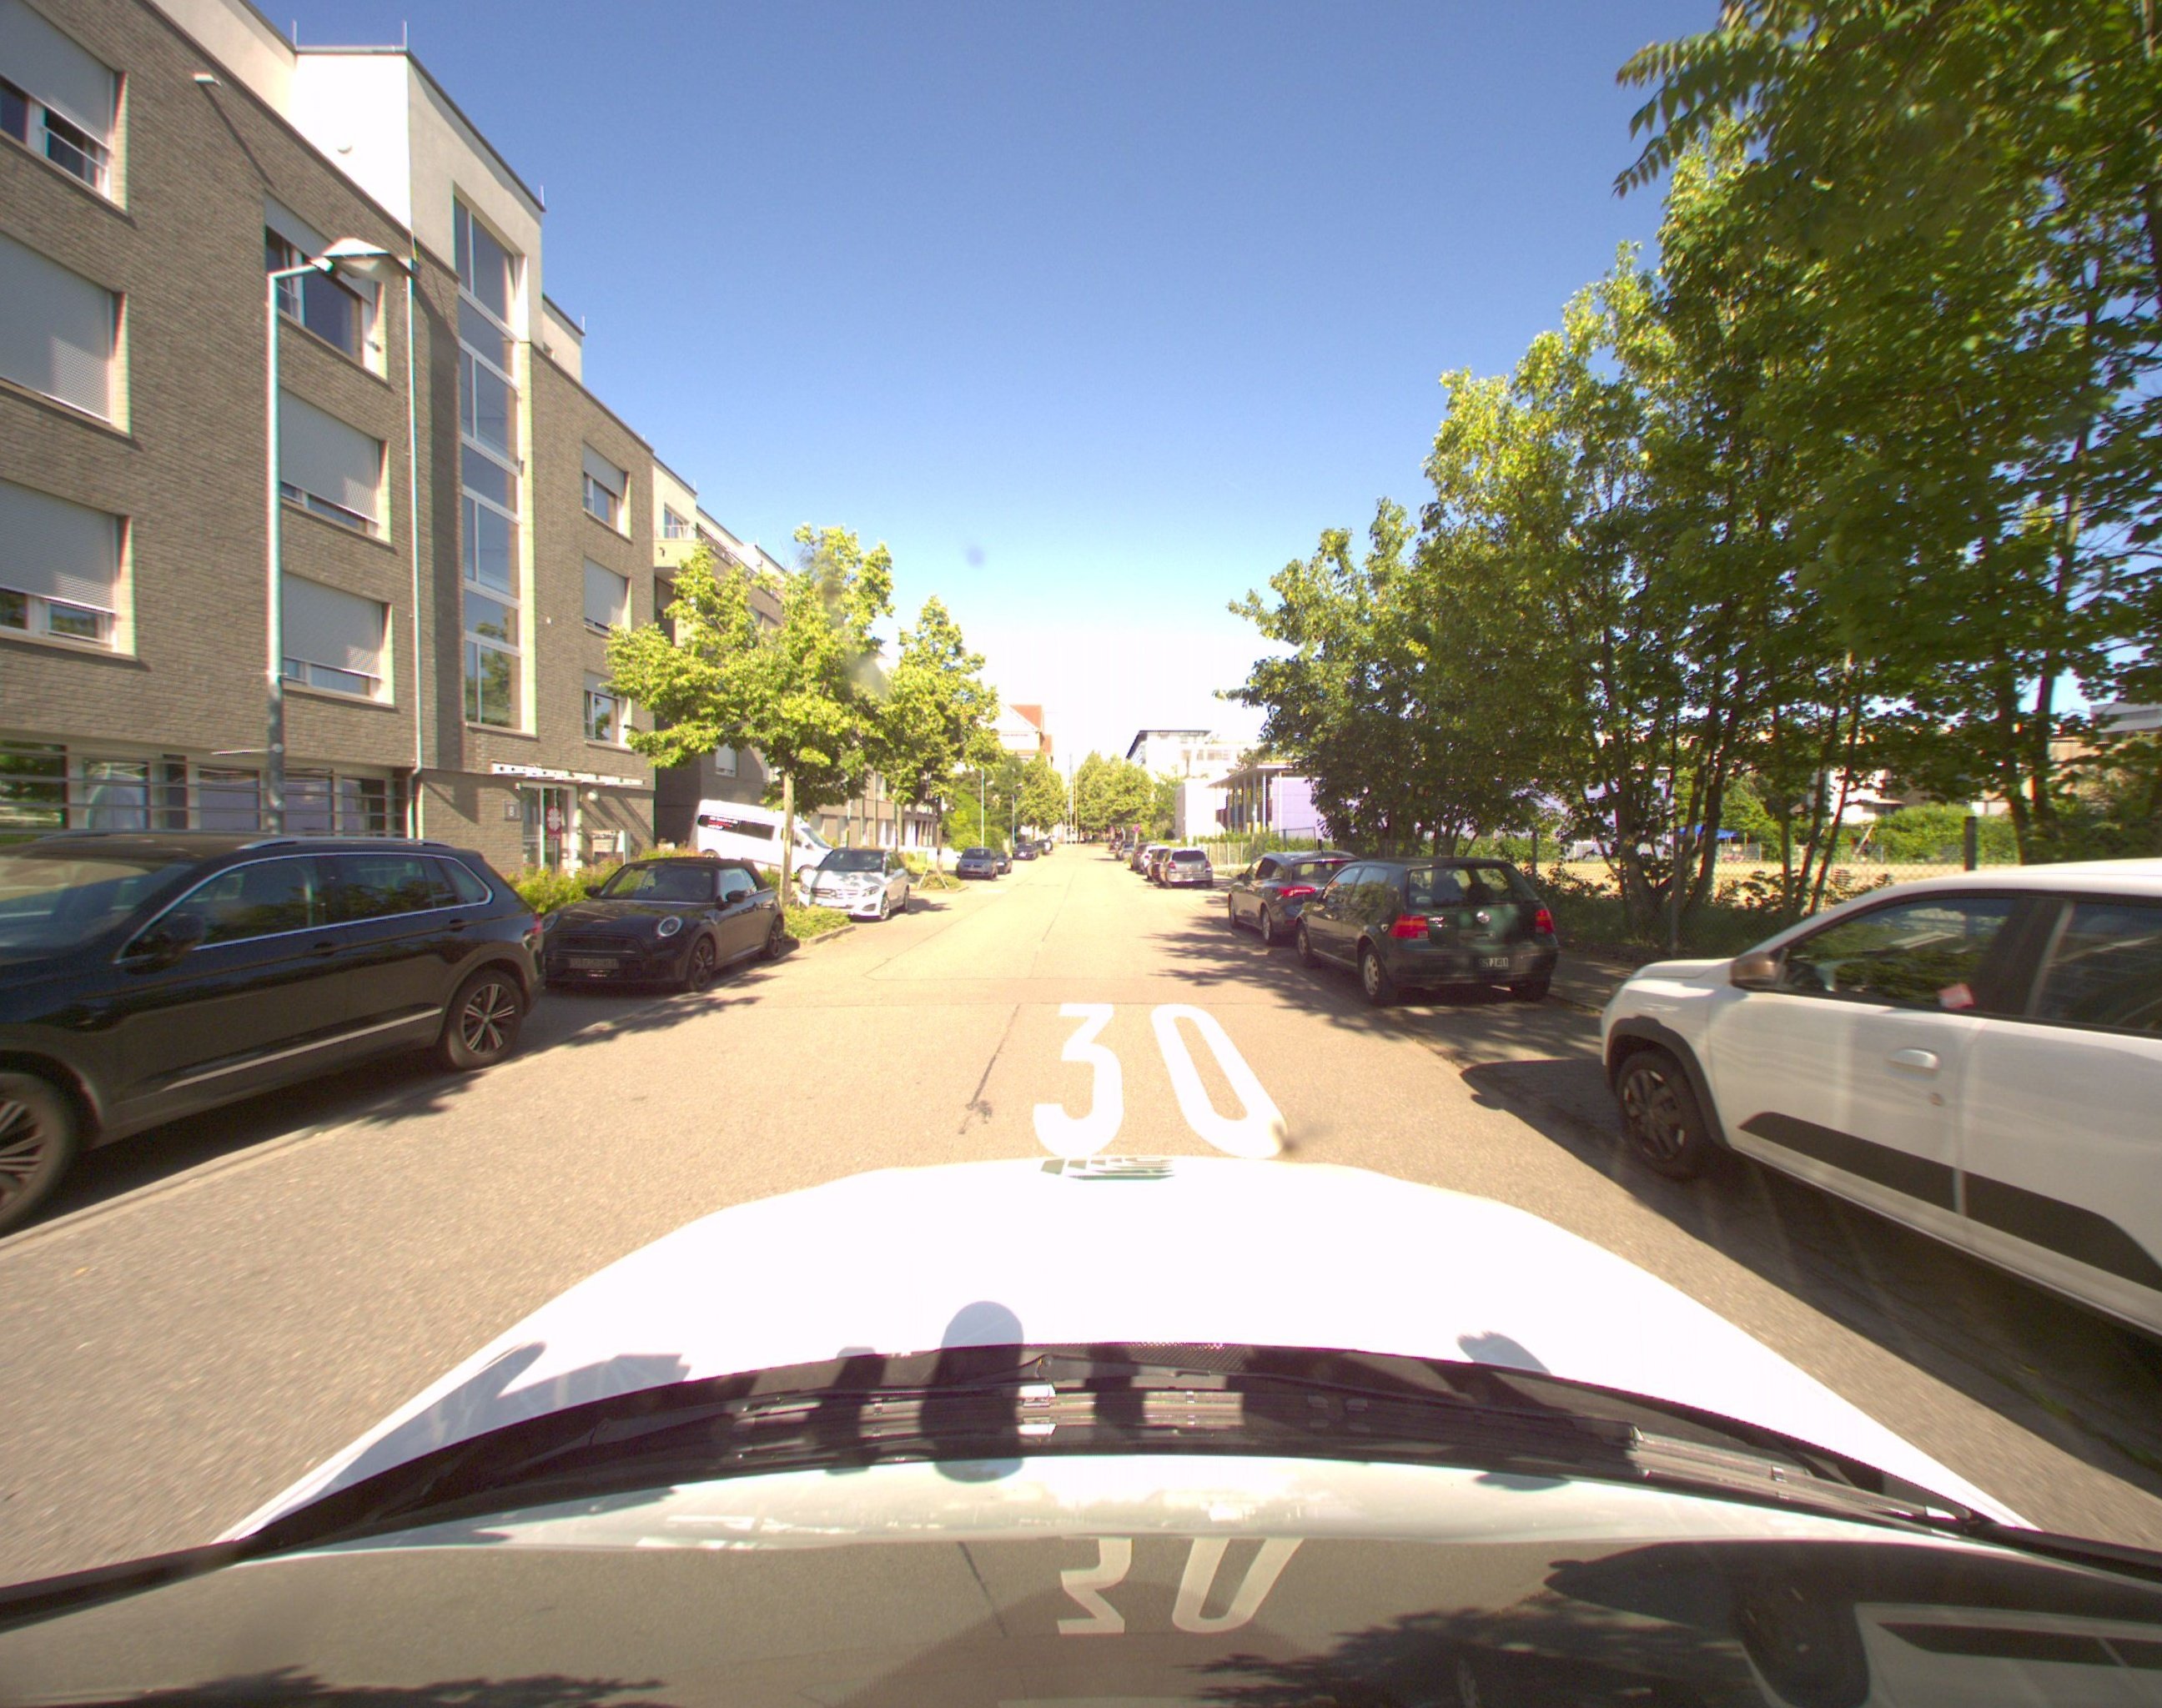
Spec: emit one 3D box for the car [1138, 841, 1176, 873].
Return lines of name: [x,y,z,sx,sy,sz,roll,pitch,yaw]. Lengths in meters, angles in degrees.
car: [3.976,0.137,43.145,1.674,1.541,3.849,0,2,0]

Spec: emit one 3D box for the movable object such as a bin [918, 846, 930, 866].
movable object such as a bin: [-8.926,0.128,46.330,0.605,1.090,0.636,0,2,-1]

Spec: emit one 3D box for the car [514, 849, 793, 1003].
car: [-4.975,0.715,10.107,1.574,1.504,3.787,0,1,-3]

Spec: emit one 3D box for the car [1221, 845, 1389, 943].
car: [3.678,0.559,14.184,1.671,1.437,4.438,0,1,-1]

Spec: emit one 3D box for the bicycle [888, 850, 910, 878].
bicycle: [-7.762,0.427,34.755,0.282,1.124,1.988,0,1,7]

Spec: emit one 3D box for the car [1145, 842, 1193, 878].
car: [3.786,0.231,35.529,1.682,1.494,4.078,0,0,0]

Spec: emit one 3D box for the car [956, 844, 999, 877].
car: [-4.903,0.280,38.883,1.606,1.465,3.873,0,1,-1]

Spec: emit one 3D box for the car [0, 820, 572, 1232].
car: [-5.176,0.656,4.441,1.880,1.619,4.341,2,0,2]

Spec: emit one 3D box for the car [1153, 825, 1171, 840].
car: [10.902,-2.931,109.884,1.987,2.013,4.001,0,1,1]

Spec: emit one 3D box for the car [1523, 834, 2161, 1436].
car: [3.445,0.681,2.933,1.613,1.451,4.092,0,0,2]

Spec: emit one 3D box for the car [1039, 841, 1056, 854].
car: [-3.946,-0.751,97.189,1.771,1.530,4.000,0,1,1]

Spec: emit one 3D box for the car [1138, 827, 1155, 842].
car: [8.840,-2.601,109.876,2.017,2.013,4.001,0,1,1]

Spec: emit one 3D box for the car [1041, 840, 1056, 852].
car: [-4.026,-0.994,102.244,1.695,1.470,3.462,0,1,1]

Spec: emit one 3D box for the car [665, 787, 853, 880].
car: [-10.962,-0.686,28.045,5.434,2.382,1.920,8,0,-4]

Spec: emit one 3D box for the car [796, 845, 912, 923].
car: [-5.088,0.596,18.821,1.655,1.532,4.283,0,1,-3]

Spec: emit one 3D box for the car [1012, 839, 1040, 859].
car: [-4.528,-0.413,67.561,1.754,1.527,4.005,2,1,4]

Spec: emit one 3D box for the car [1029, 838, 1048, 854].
car: [-4.319,-0.854,83.687,1.689,1.604,3.943,0,1,1]

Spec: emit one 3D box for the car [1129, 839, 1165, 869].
car: [3.883,-0.041,48.455,1.720,1.652,4.326,-2,1,0]

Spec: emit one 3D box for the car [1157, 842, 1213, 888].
car: [3.847,0.348,30.637,1.657,1.512,4.002,0,2,1]

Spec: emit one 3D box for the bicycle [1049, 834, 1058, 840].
bicycle: [-4.097,-2.536,121.455,1.464,0.842,0.335,0,2,-4]

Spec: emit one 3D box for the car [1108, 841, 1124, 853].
car: [4.445,-0.859,103.654,1.987,1.486,4.000,0,1,1]

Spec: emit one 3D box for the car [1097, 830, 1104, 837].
car: [6.062,-6.374,253.782,1.986,2.013,4.002,0,2,1]

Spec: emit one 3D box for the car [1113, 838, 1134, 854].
car: [4.148,-0.768,80.244,1.828,1.515,3.880,0,1,0]

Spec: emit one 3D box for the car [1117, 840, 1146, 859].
car: [4.118,-0.351,66.905,1.825,1.422,4.229,-3,1,-3]

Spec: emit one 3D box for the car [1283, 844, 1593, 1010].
car: [3.679,0.633,9.275,1.818,1.471,4.069,0,0,1]

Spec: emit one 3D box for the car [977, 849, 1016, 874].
car: [-4.552,0.380,44.285,1.593,1.217,3.877,2,1,1]
